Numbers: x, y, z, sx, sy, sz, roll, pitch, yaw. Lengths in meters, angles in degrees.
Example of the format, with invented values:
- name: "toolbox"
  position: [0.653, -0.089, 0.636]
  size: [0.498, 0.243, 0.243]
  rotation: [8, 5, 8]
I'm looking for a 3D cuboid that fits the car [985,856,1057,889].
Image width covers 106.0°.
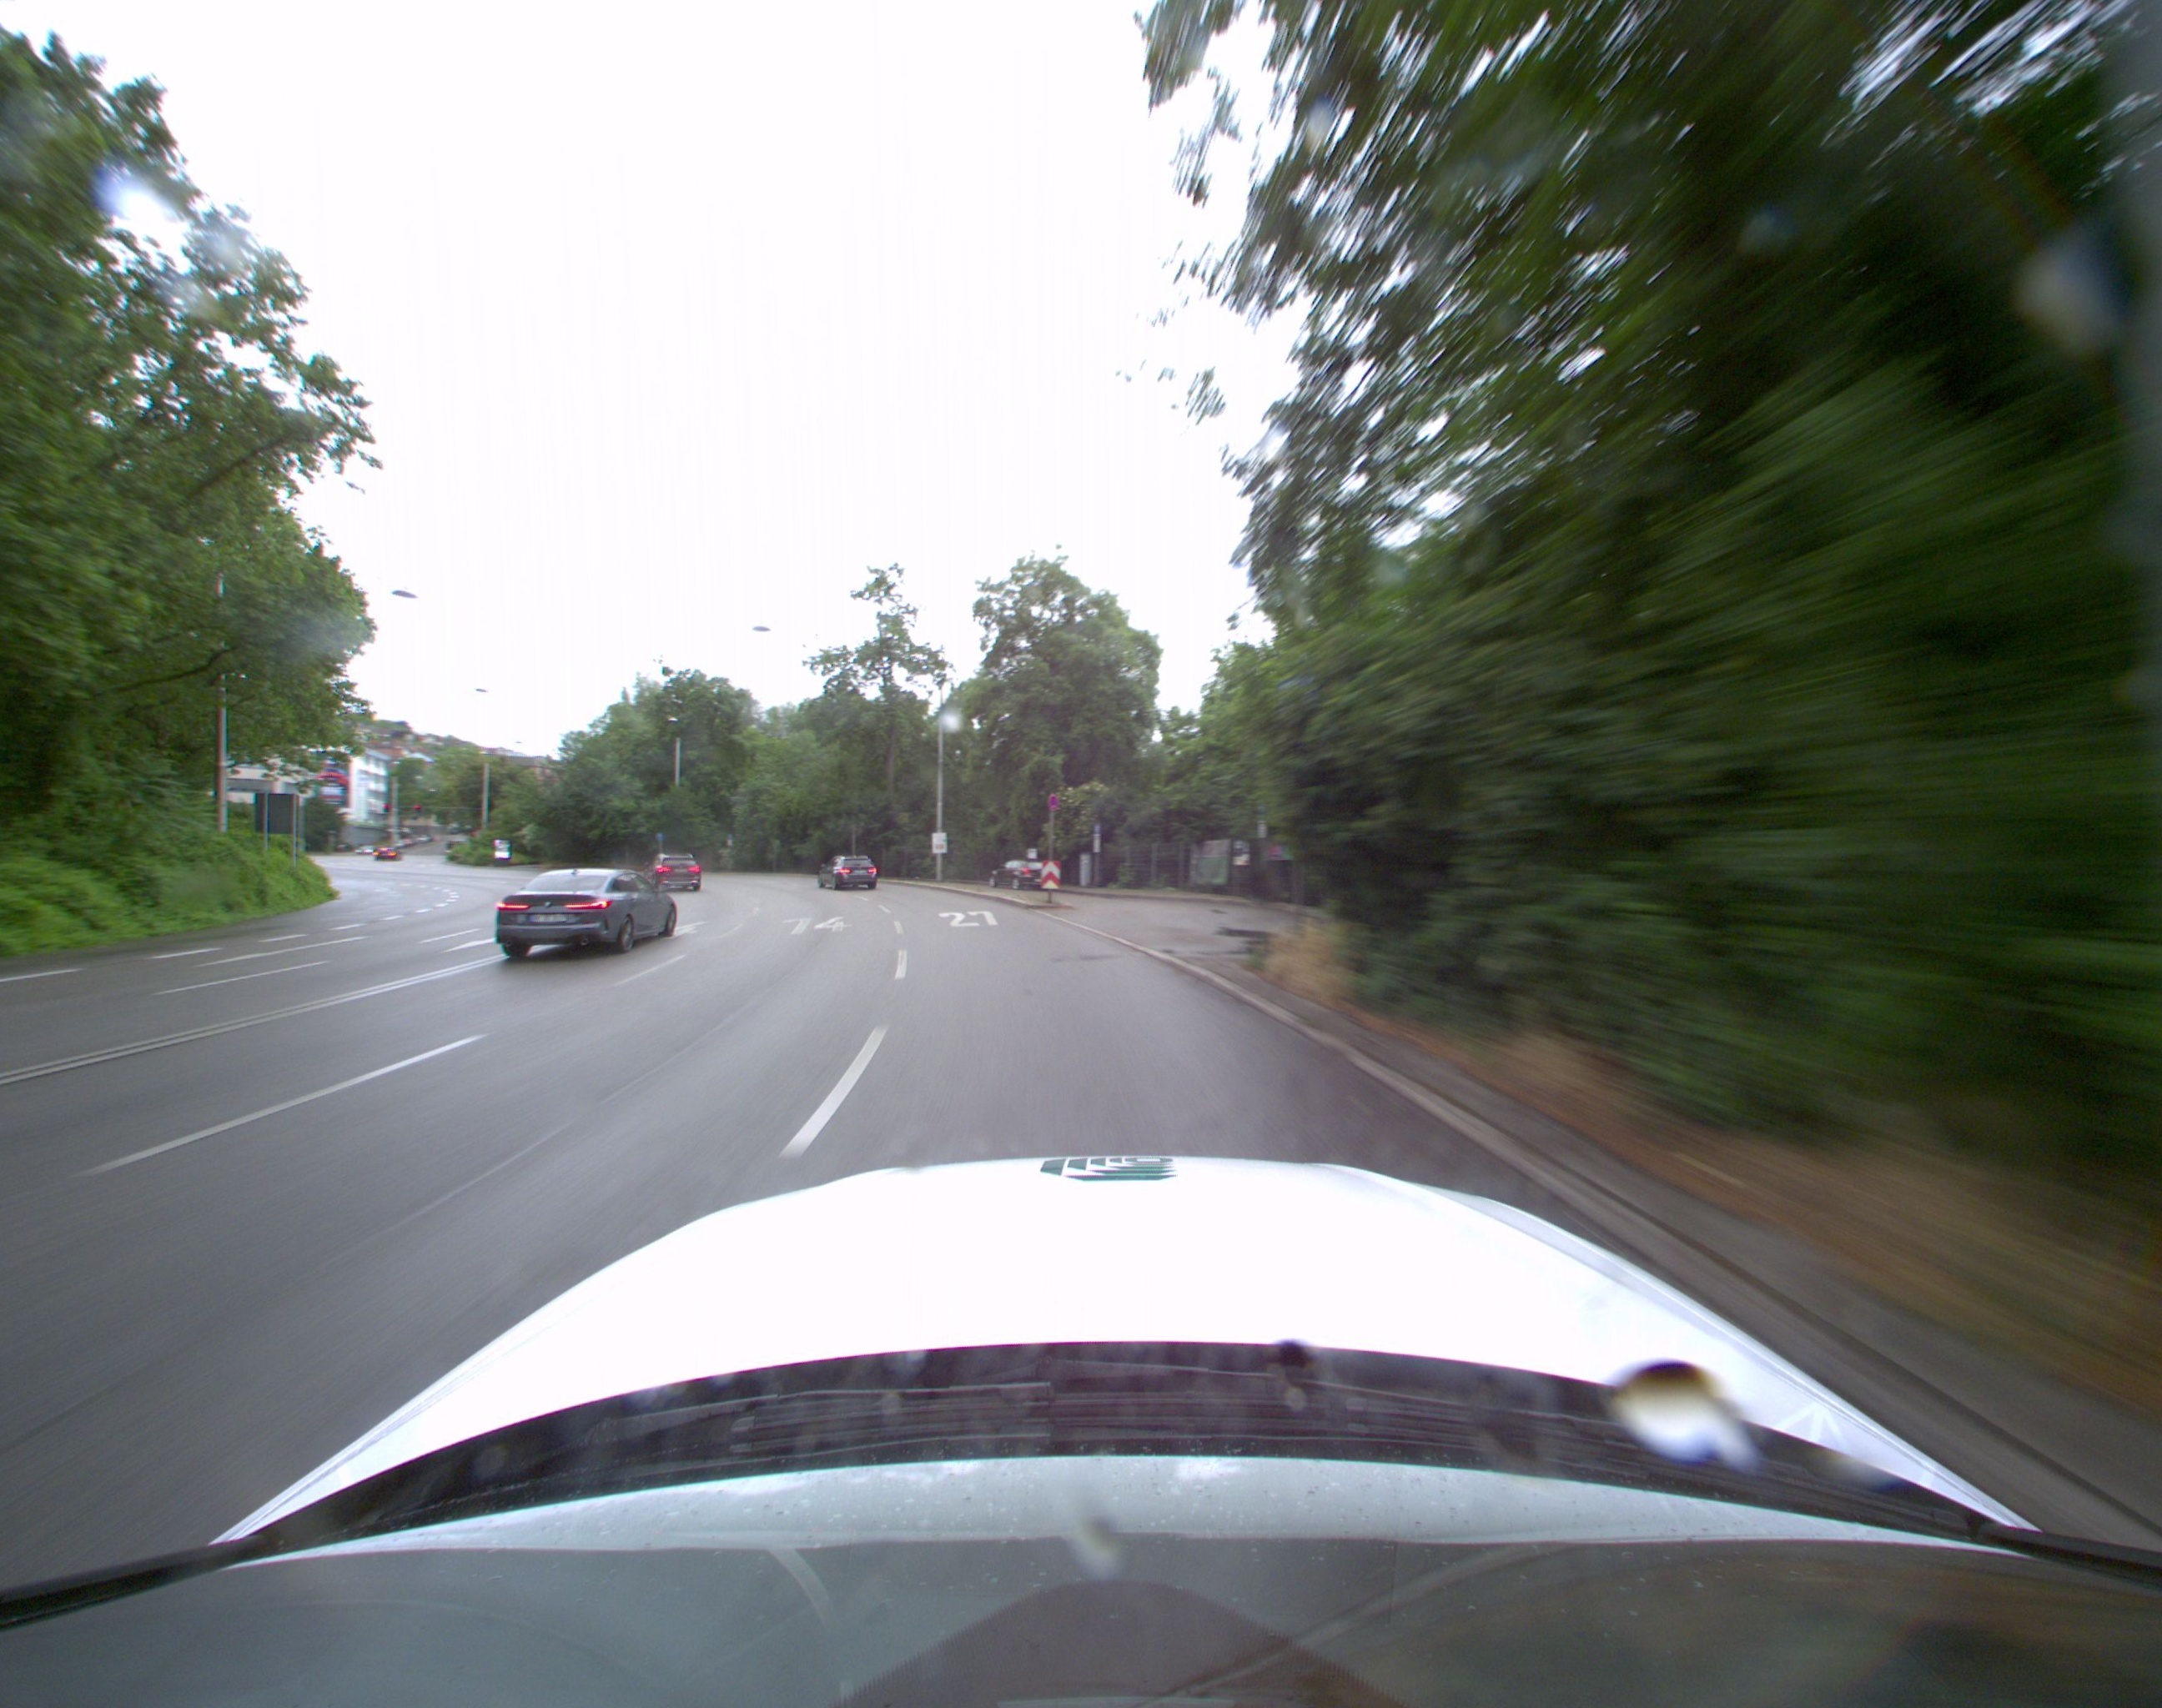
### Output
- name: "car"
  position: [-2.964, 0.880, 39.444]
  size: [1.698, 1.426, 4.328]
  rotation: [3, -1, -31]

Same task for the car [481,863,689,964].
- name: "car"
  position: [-8.693, 0.948, 14.775]
  size: [1.665, 1.415, 4.524]
  rotation: [1, 1, -10]

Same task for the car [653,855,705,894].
- name: "car"
  position: [-18.202, 0.874, 37.011]
  size: [1.765, 1.586, 4.380]
  rotation: [-1, 1, -22]

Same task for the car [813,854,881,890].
- name: "car"
  position: [-10.432, 0.808, 36.147]
  size: [1.769, 1.432, 4.368]
  rotation: [-2, -1, -31]

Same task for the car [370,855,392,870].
- name: "car"
  position: [-77.963, 0.912, 90.752]
  size: [1.845, 1.651, 3.953]
  rotation: [0, 0, -40]
